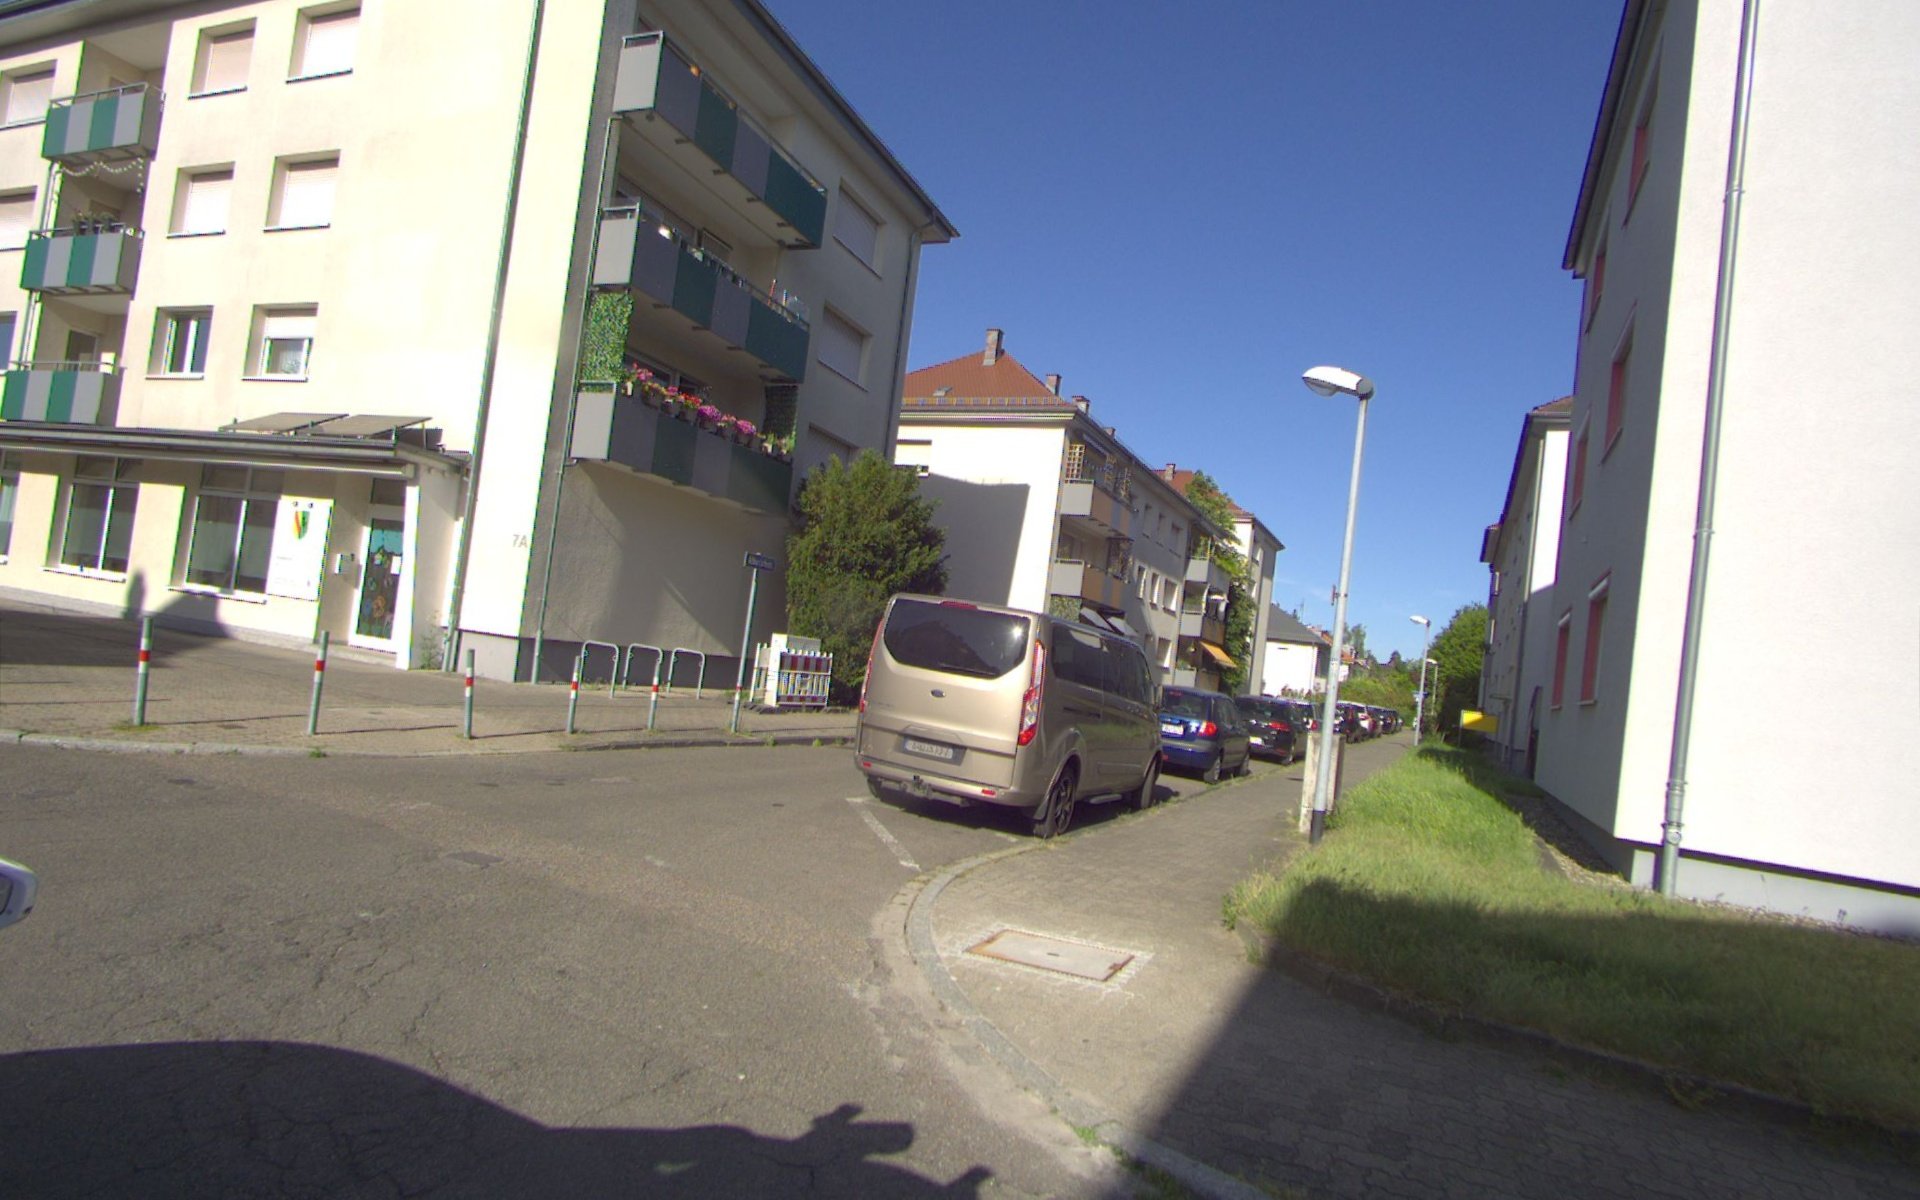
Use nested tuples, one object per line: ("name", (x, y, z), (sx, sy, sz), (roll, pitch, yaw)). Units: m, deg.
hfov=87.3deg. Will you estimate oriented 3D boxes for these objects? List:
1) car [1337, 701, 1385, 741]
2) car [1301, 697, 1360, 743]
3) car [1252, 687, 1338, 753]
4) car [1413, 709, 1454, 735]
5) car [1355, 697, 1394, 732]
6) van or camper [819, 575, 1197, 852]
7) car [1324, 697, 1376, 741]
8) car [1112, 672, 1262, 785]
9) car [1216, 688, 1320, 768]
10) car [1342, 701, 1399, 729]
("car", (19.363, 5.807, 48.508), (1.651, 1.591, 4.244), (8, -2, 26))
("car", (14.778, 4.752, 39.980), (1.651, 1.471, 4.080), (8, -2, 26))
("car", (9.564, 3.374, 28.521), (1.651, 1.471, 4.080), (8, -2, 26))
("car", (38.800, 9.992, 82.483), (2.889, 1.648, 1.392), (6, -1, 26))
("car", (24.847, 6.830, 60.218), (1.709, 1.713, 4.244), (8, -2, 26))
("van or camper", (0.872, 1.177, 10.860), (1.965, 2.036, 5.141), (8, -2, 27))
("car", (17.150, 5.196, 44.128), (1.651, 1.591, 4.080), (8, -2, 26))
("car", (4.024, 2.184, 17.465), (1.651, 1.547, 3.485), (6, -3, 26))
("car", (7.323, 2.982, 23.712), (1.651, 1.471, 3.485), (8, -2, 26))
("car", (34.671, 9.684, 84.988), (4.227, 1.693, 1.998), (6, -1, 28))
